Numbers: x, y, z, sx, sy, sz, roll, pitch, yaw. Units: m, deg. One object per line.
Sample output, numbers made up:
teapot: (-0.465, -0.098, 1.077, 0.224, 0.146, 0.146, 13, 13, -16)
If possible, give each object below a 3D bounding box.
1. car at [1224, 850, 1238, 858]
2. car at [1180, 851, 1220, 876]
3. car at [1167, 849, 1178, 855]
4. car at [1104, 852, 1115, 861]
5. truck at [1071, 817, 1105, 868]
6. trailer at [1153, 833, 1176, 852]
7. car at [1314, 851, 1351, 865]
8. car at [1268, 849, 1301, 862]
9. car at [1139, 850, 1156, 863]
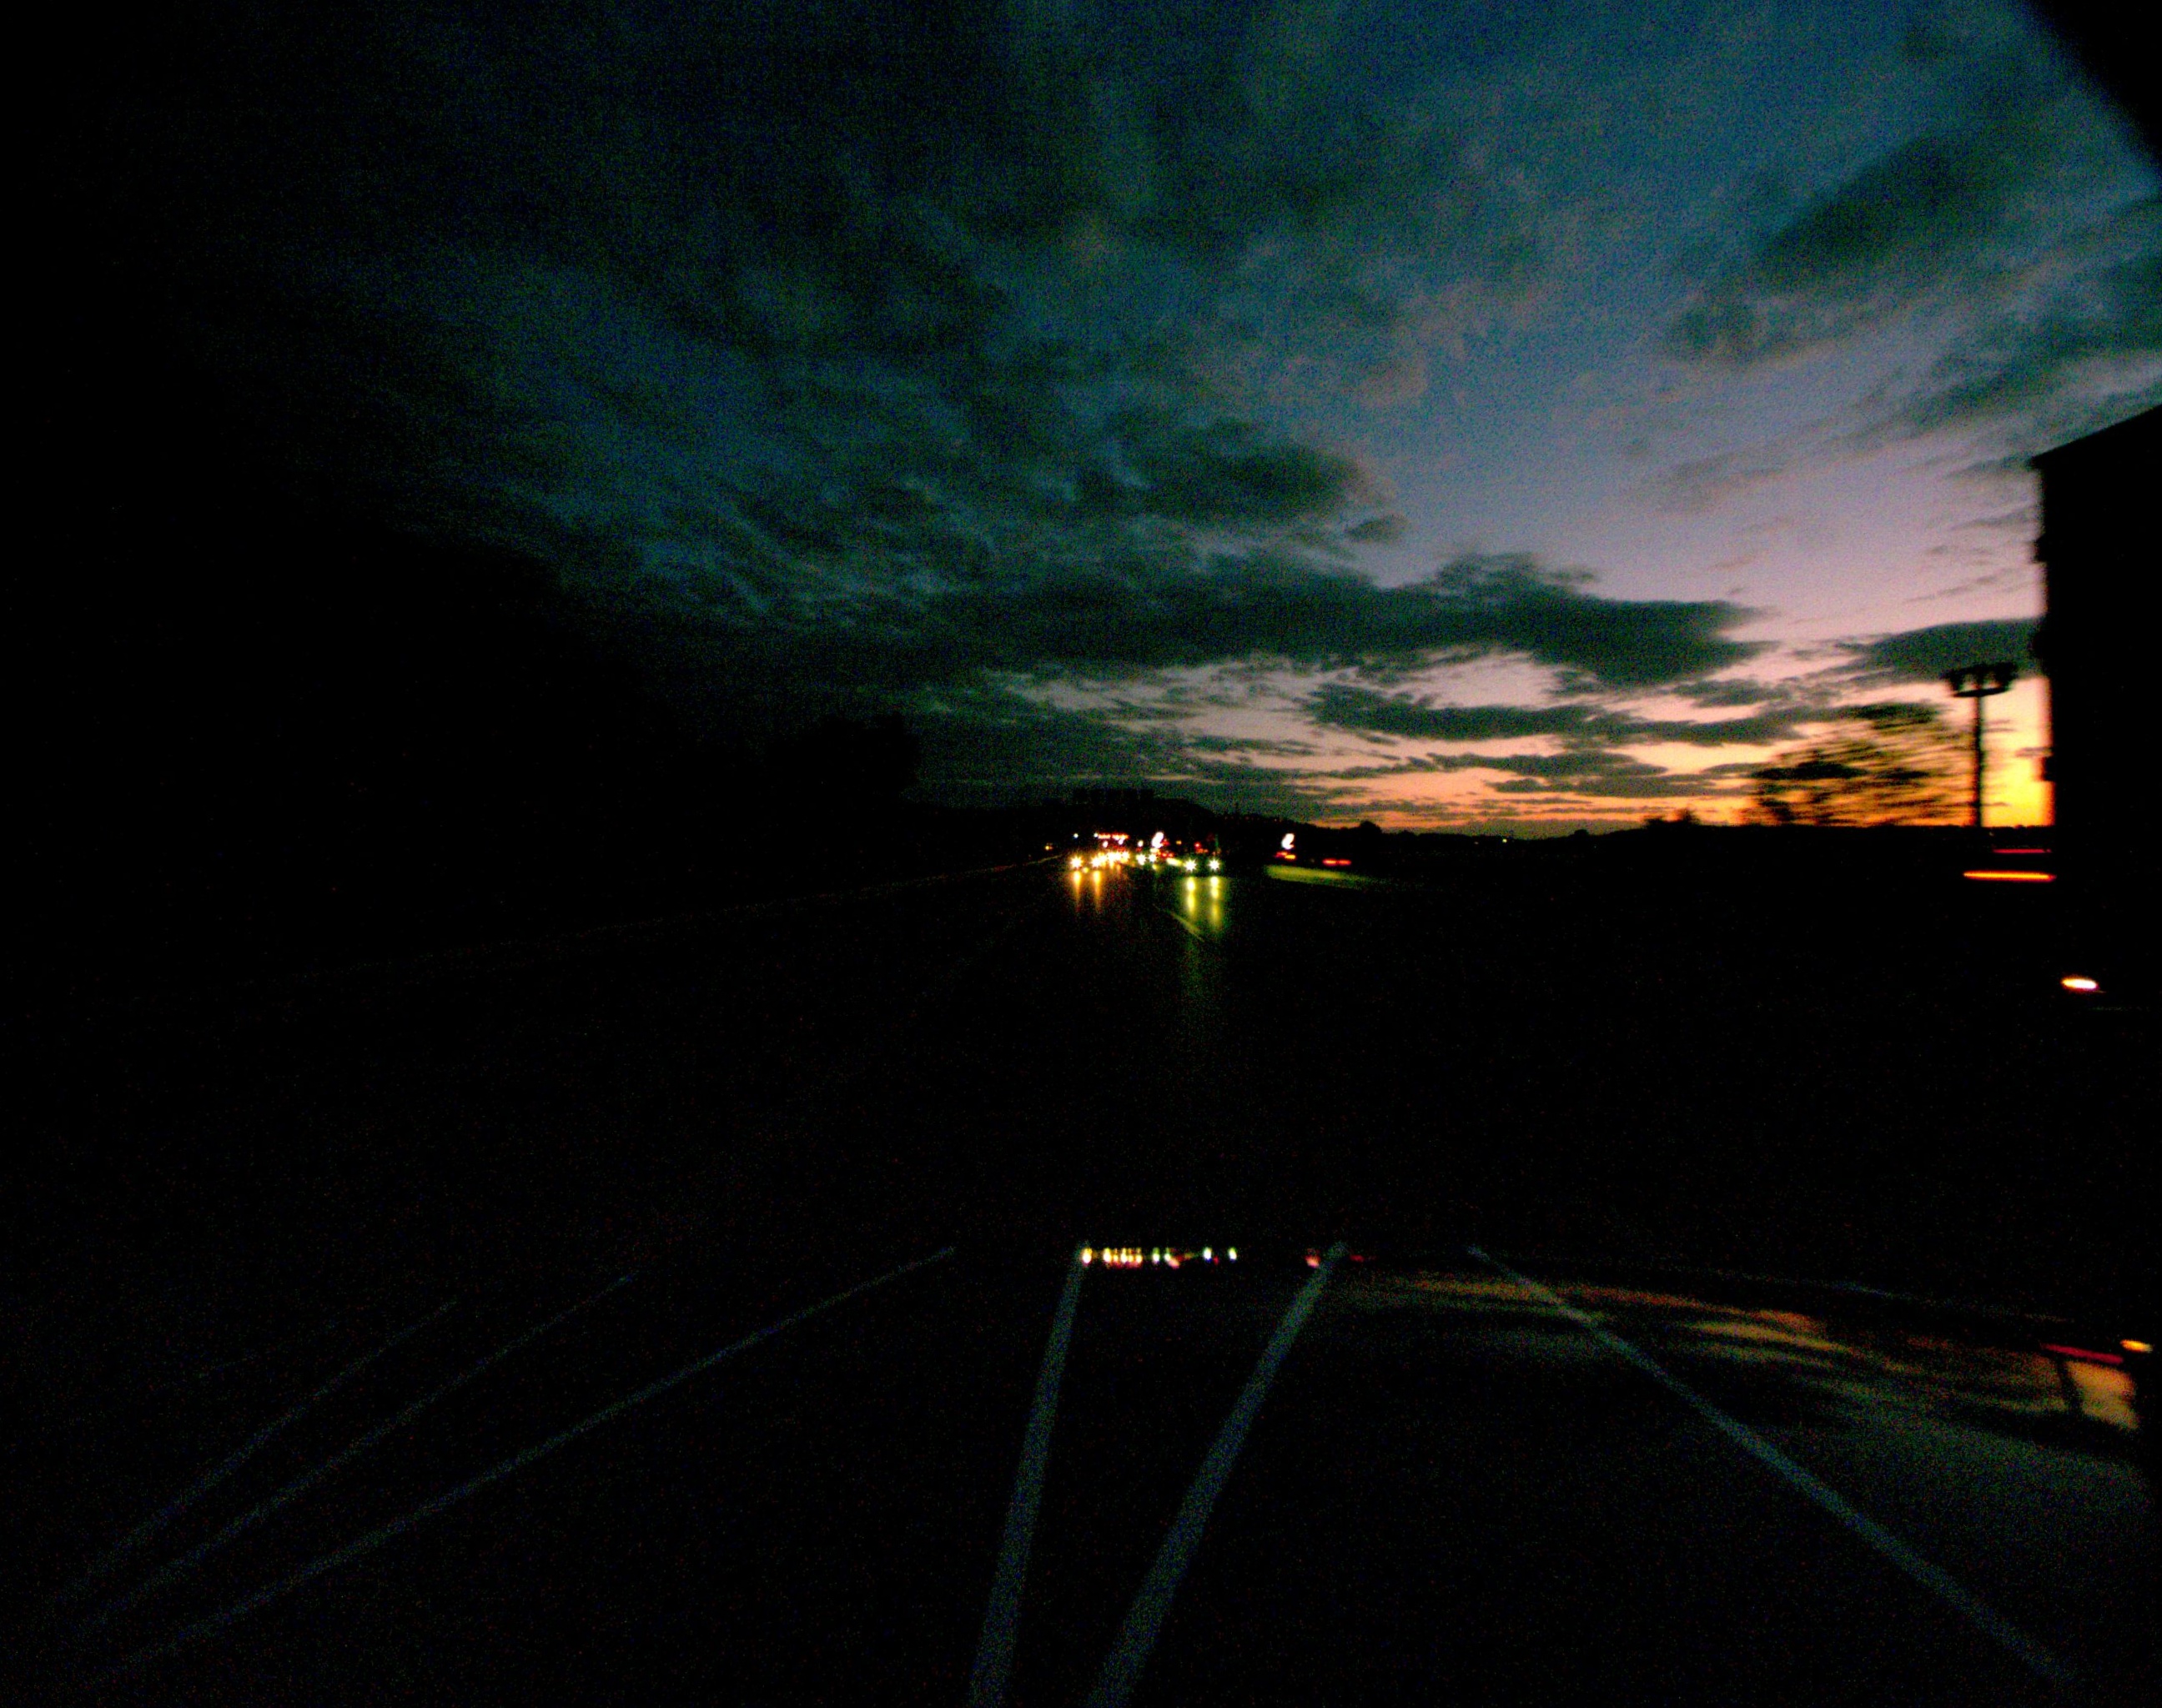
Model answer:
car: (24.105, -0.084, 121.998, 1.540, 1.184, 3.609, -2, 1, 1)
car: (7.865, 0.596, 50.815, 1.819, 1.429, 5.394, -2, 1, 0)
car: (18.375, -0.389, 152.572, 1.867, 1.197, 4.000, -2, 1, 1)
car: (5.036, 0.381, 134.134, 1.802, 1.531, 4.159, -2, 1, 0)
truck: (0.736, -1.042, 77.287, 3.012, 4.570, 12.578, -2, 0, 0)
trailer: (26.696, -3.604, 243.585, 5.317, 5.752, 19.211, -2, 1, 1)
car: (20.583, 0.297, 62.463, 1.584, 0.983, 4.524, -2, 1, 1)
car: (16.413, 0.091, 61.449, 1.697, 0.983, 3.565, -2, 1, 1)
car: (8.743, 0.316, 100.572, 1.819, 1.638, 4.856, -2, 1, 0)
